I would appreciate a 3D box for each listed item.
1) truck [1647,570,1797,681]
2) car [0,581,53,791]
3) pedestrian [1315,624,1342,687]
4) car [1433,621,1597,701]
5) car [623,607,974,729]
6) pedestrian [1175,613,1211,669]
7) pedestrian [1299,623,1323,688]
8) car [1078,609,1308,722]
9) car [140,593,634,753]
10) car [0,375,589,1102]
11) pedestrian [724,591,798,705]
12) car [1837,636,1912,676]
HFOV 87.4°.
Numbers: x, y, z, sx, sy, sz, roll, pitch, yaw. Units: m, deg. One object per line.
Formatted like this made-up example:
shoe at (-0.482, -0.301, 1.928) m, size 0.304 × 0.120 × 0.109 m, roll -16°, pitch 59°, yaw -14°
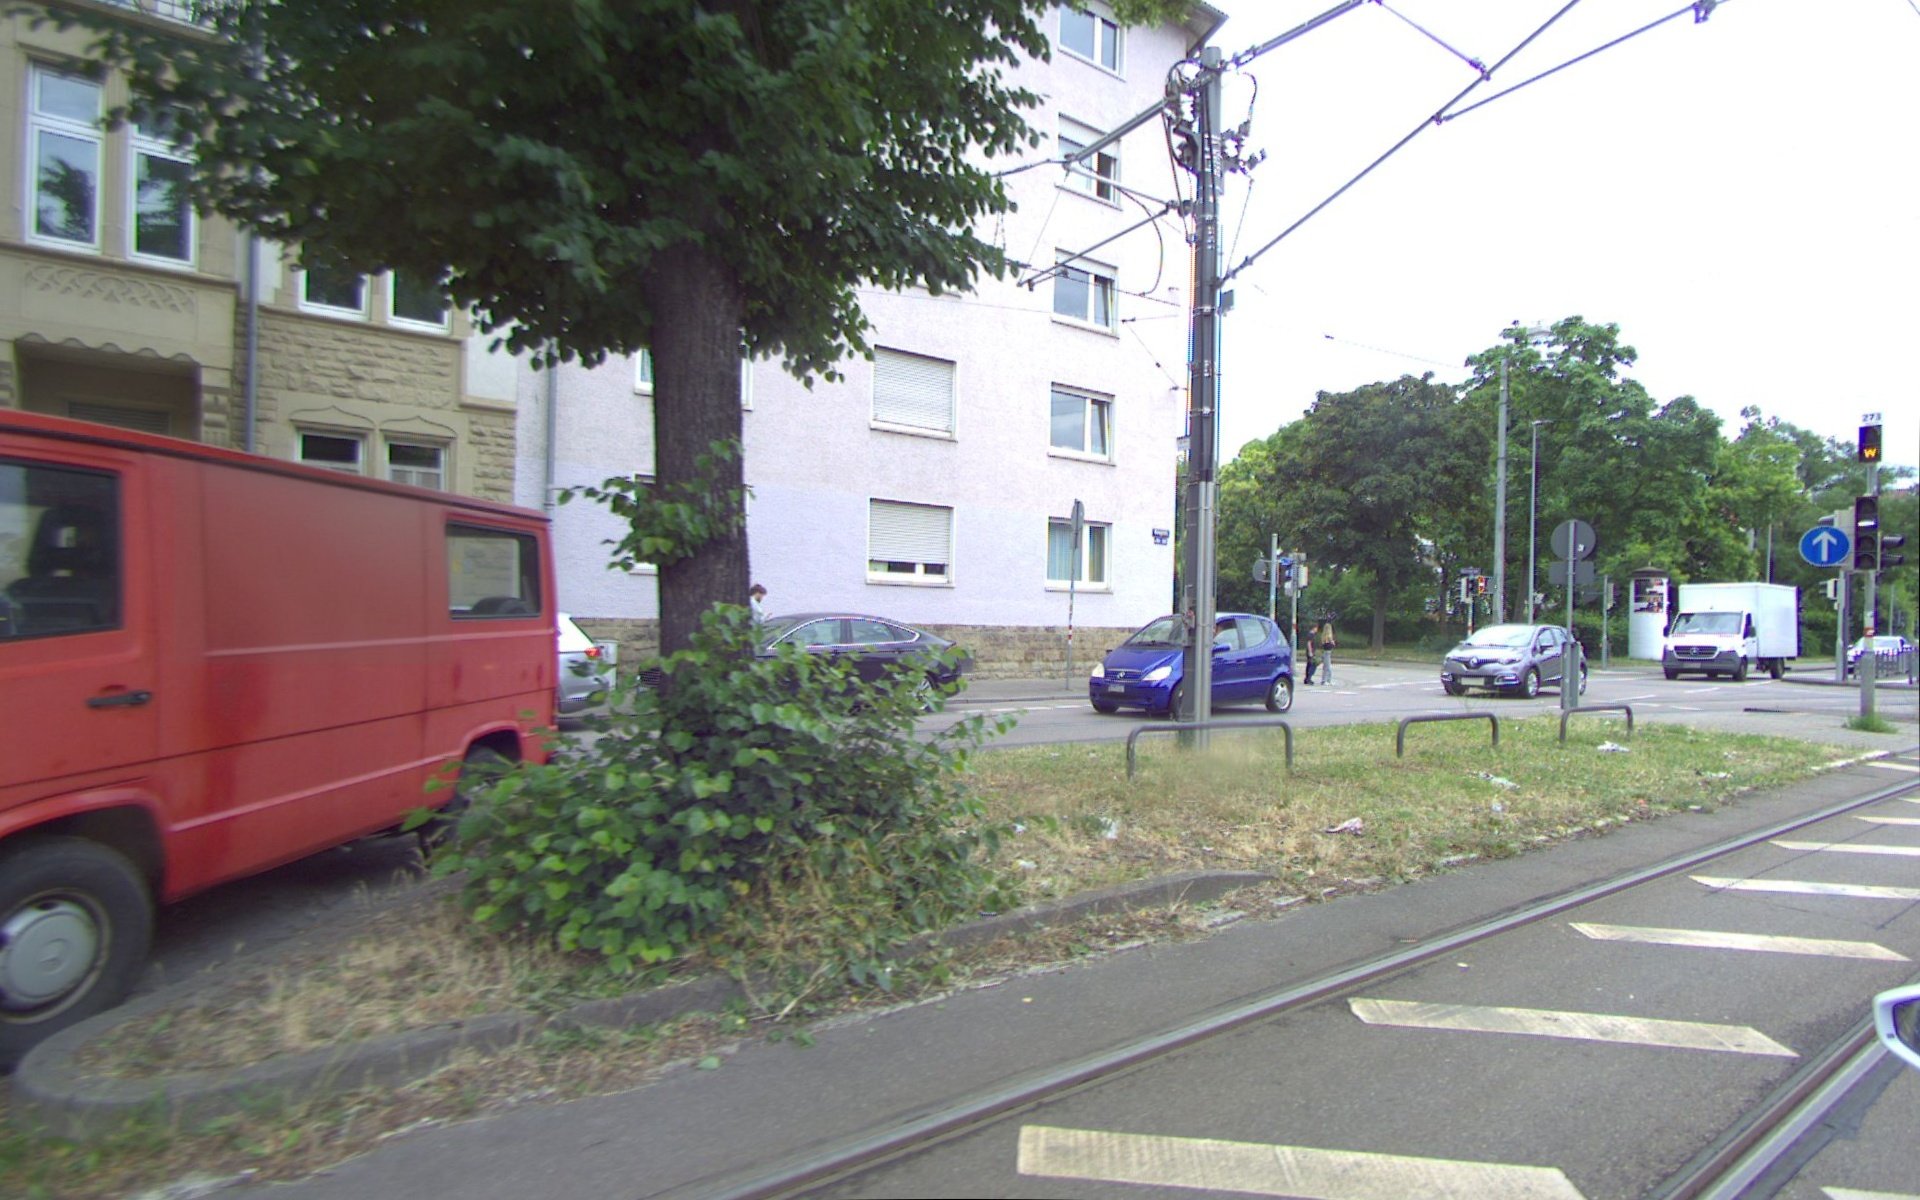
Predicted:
truck at (24.433, 0.842, 32.067) m, size 7.271 × 3.199 × 2.167 m, roll 3°, pitch -1°, yaw -39°
car at (-8.356, 0.505, 6.242) m, size 3.848 × 1.401 × 1.632 m, roll 2°, pitch -1°, yaw -37°
pedestrian at (9.361, 1.396, 25.484) m, size 0.524 × 1.578 × 0.569 m, roll 1°, pitch -1°, yaw 31°
car at (12.170, 1.308, 21.929) m, size 4.095 × 1.555 × 1.631 m, roll 2°, pitch -1°, yaw -38°
car at (-2.157, 0.892, 14.291) m, size 4.720 × 1.462 × 1.622 m, roll 2°, pitch -1°, yaw -38°
pedestrian at (8.143, 1.434, 35.153) m, size 1.025 × 1.899 × 0.836 m, roll 1°, pitch -1°, yaw 0°
pedestrian at (8.778, 1.372, 25.096) m, size 0.523 × 1.578 × 0.570 m, roll 1°, pitch -1°, yaw 22°
car at (3.698, 0.977, 15.712) m, size 3.599 × 1.555 × 1.631 m, roll 2°, pitch -1°, yaw -39°
car at (-6.179, 0.724, 11.228) m, size 4.529 × 1.462 × 1.622 m, roll 2°, pitch -1°, yaw -38°
car at (-3.527, 0.389, 4.248) m, size 1.920 × 2.000 × 4.770 m, roll 1°, pitch -1°, yaw 3°
pedestrian at (-3.233, 0.766, 16.309) m, size 0.892 × 1.789 × 0.792 m, roll 2°, pitch -1°, yaw -37°
car at (40.953, 2.495, 44.944) m, size 4.497 × 1.661 × 1.756 m, roll 2°, pitch -1°, yaw -38°
